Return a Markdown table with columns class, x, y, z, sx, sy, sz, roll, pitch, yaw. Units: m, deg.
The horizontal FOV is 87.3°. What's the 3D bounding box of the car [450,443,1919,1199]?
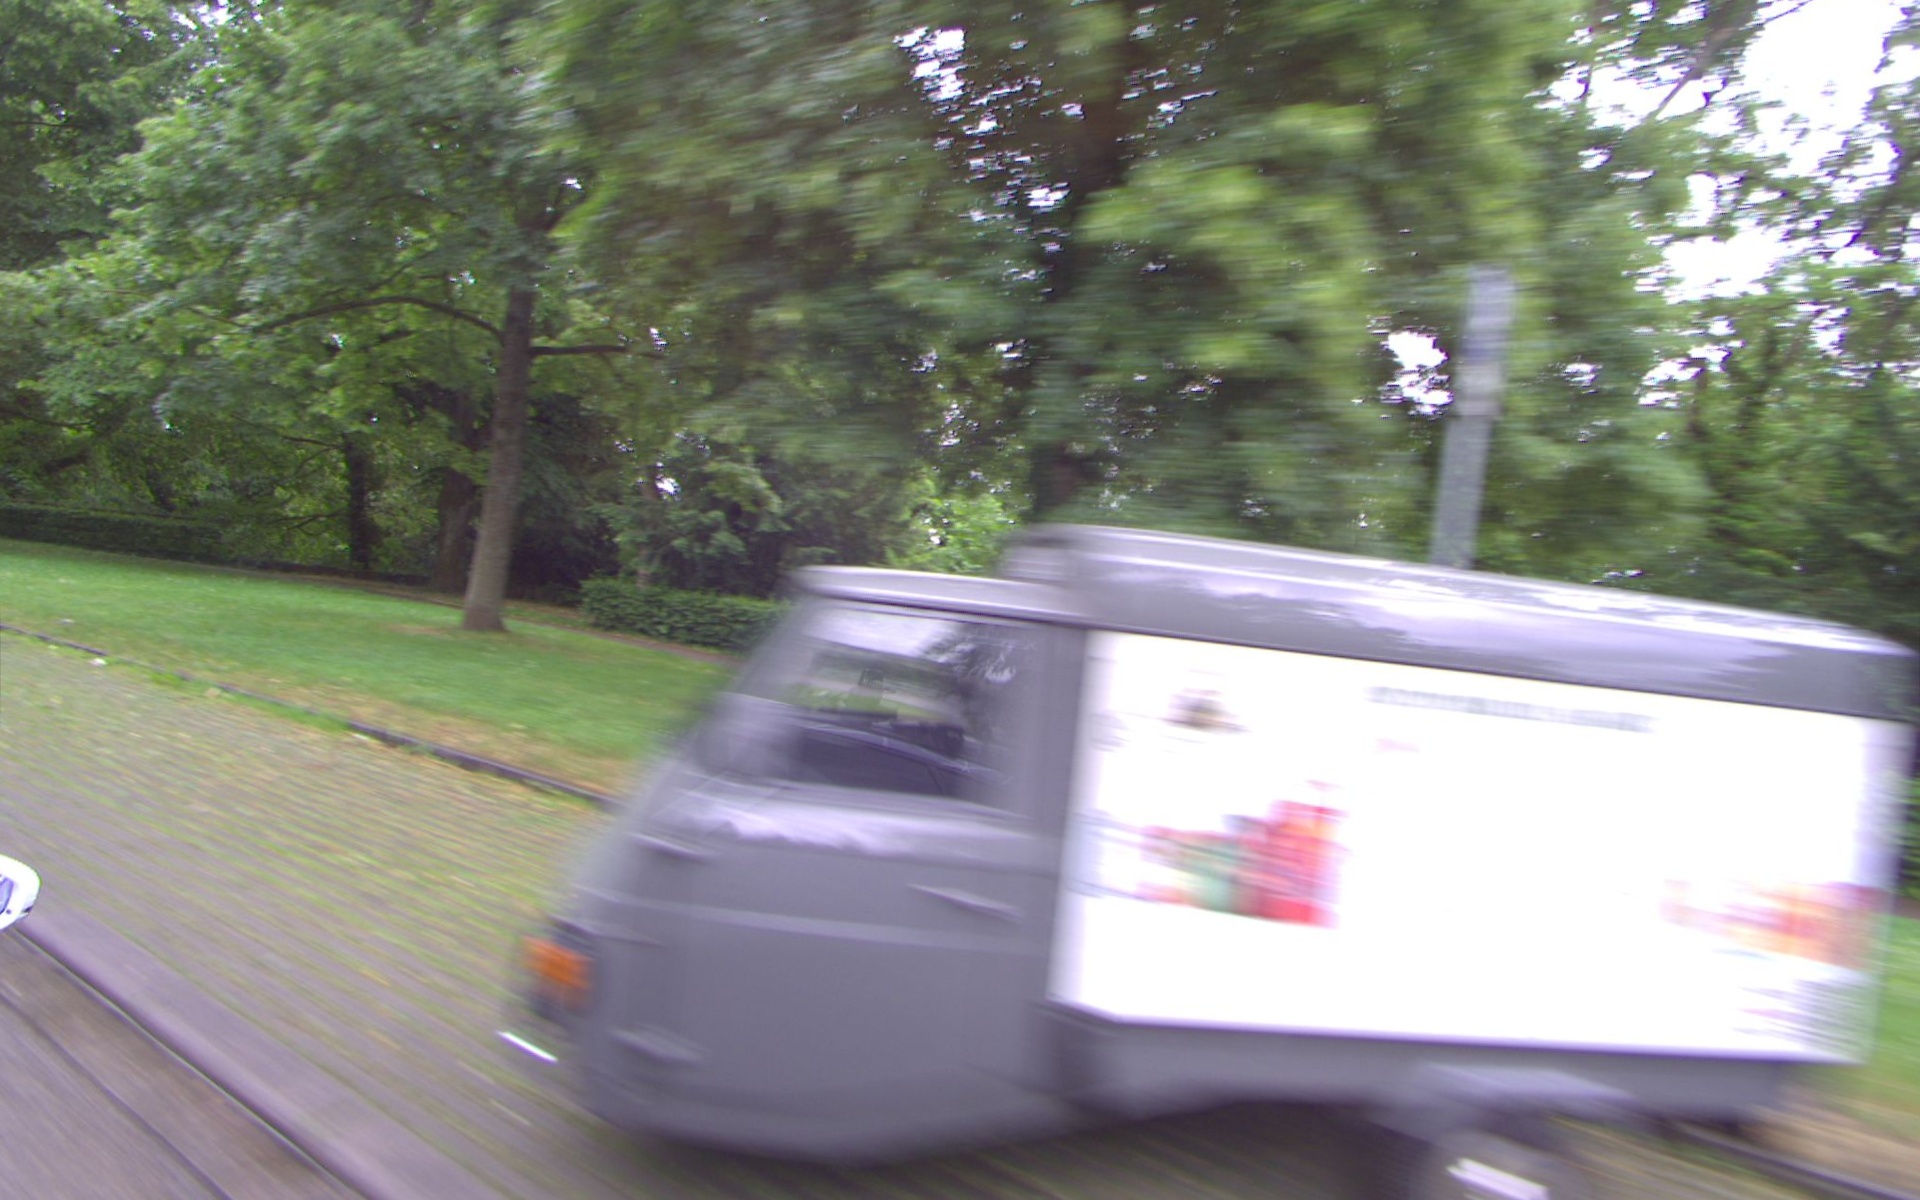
| class | x | y | z | sx | sy | sz | roll | pitch | yaw |
| --- | --- | --- | --- | --- | --- | --- | --- | --- | --- |
| car | 0.902 | 0.721 | 2.992 | 3.938 | 1.703 | 1.608 | 5 | 1 | -9 |
